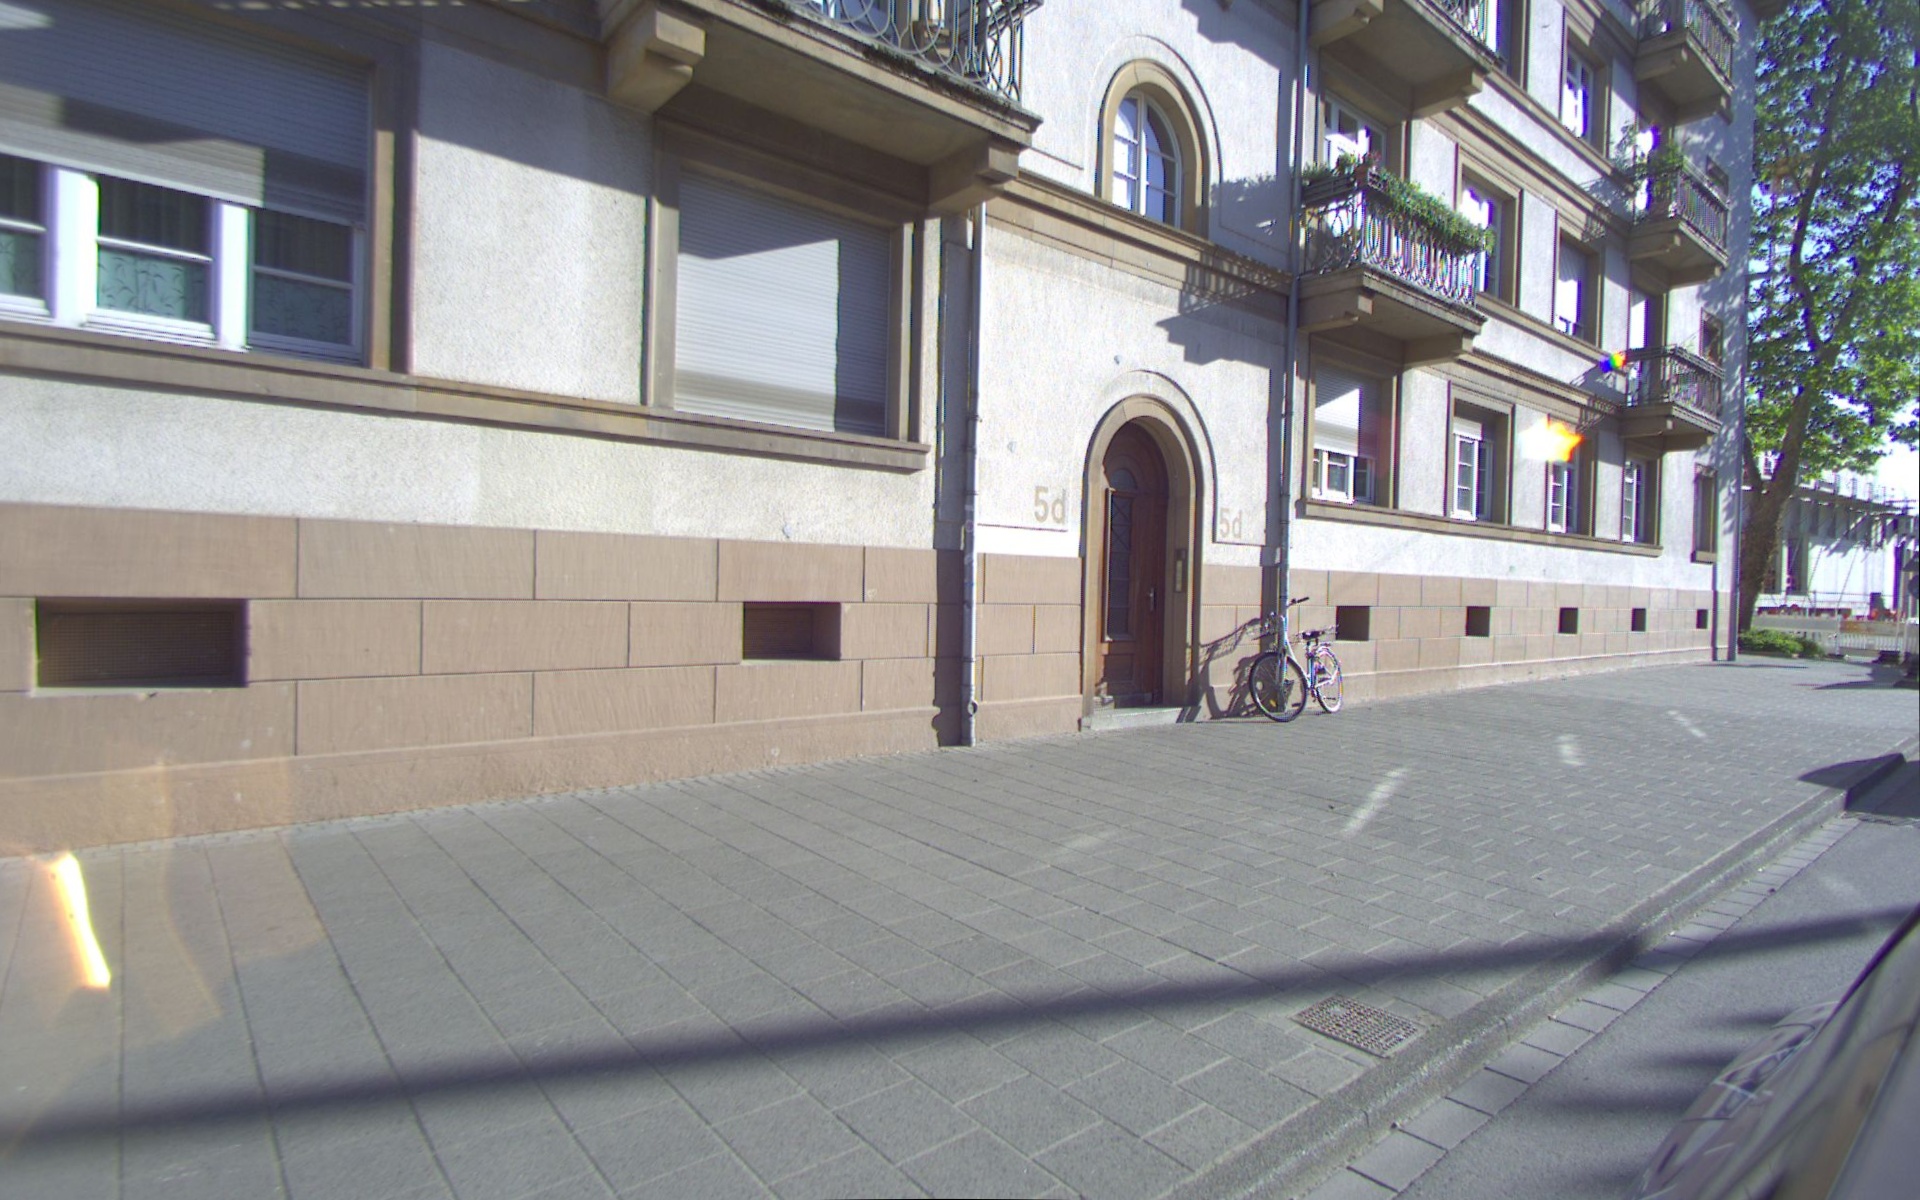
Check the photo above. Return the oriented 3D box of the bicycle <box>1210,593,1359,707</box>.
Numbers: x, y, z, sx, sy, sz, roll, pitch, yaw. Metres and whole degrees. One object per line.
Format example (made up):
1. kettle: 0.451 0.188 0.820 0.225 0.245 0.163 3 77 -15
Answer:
1. bicycle: 3.499 0.490 10.783 2.159 1.109 0.419 0 1 -40
